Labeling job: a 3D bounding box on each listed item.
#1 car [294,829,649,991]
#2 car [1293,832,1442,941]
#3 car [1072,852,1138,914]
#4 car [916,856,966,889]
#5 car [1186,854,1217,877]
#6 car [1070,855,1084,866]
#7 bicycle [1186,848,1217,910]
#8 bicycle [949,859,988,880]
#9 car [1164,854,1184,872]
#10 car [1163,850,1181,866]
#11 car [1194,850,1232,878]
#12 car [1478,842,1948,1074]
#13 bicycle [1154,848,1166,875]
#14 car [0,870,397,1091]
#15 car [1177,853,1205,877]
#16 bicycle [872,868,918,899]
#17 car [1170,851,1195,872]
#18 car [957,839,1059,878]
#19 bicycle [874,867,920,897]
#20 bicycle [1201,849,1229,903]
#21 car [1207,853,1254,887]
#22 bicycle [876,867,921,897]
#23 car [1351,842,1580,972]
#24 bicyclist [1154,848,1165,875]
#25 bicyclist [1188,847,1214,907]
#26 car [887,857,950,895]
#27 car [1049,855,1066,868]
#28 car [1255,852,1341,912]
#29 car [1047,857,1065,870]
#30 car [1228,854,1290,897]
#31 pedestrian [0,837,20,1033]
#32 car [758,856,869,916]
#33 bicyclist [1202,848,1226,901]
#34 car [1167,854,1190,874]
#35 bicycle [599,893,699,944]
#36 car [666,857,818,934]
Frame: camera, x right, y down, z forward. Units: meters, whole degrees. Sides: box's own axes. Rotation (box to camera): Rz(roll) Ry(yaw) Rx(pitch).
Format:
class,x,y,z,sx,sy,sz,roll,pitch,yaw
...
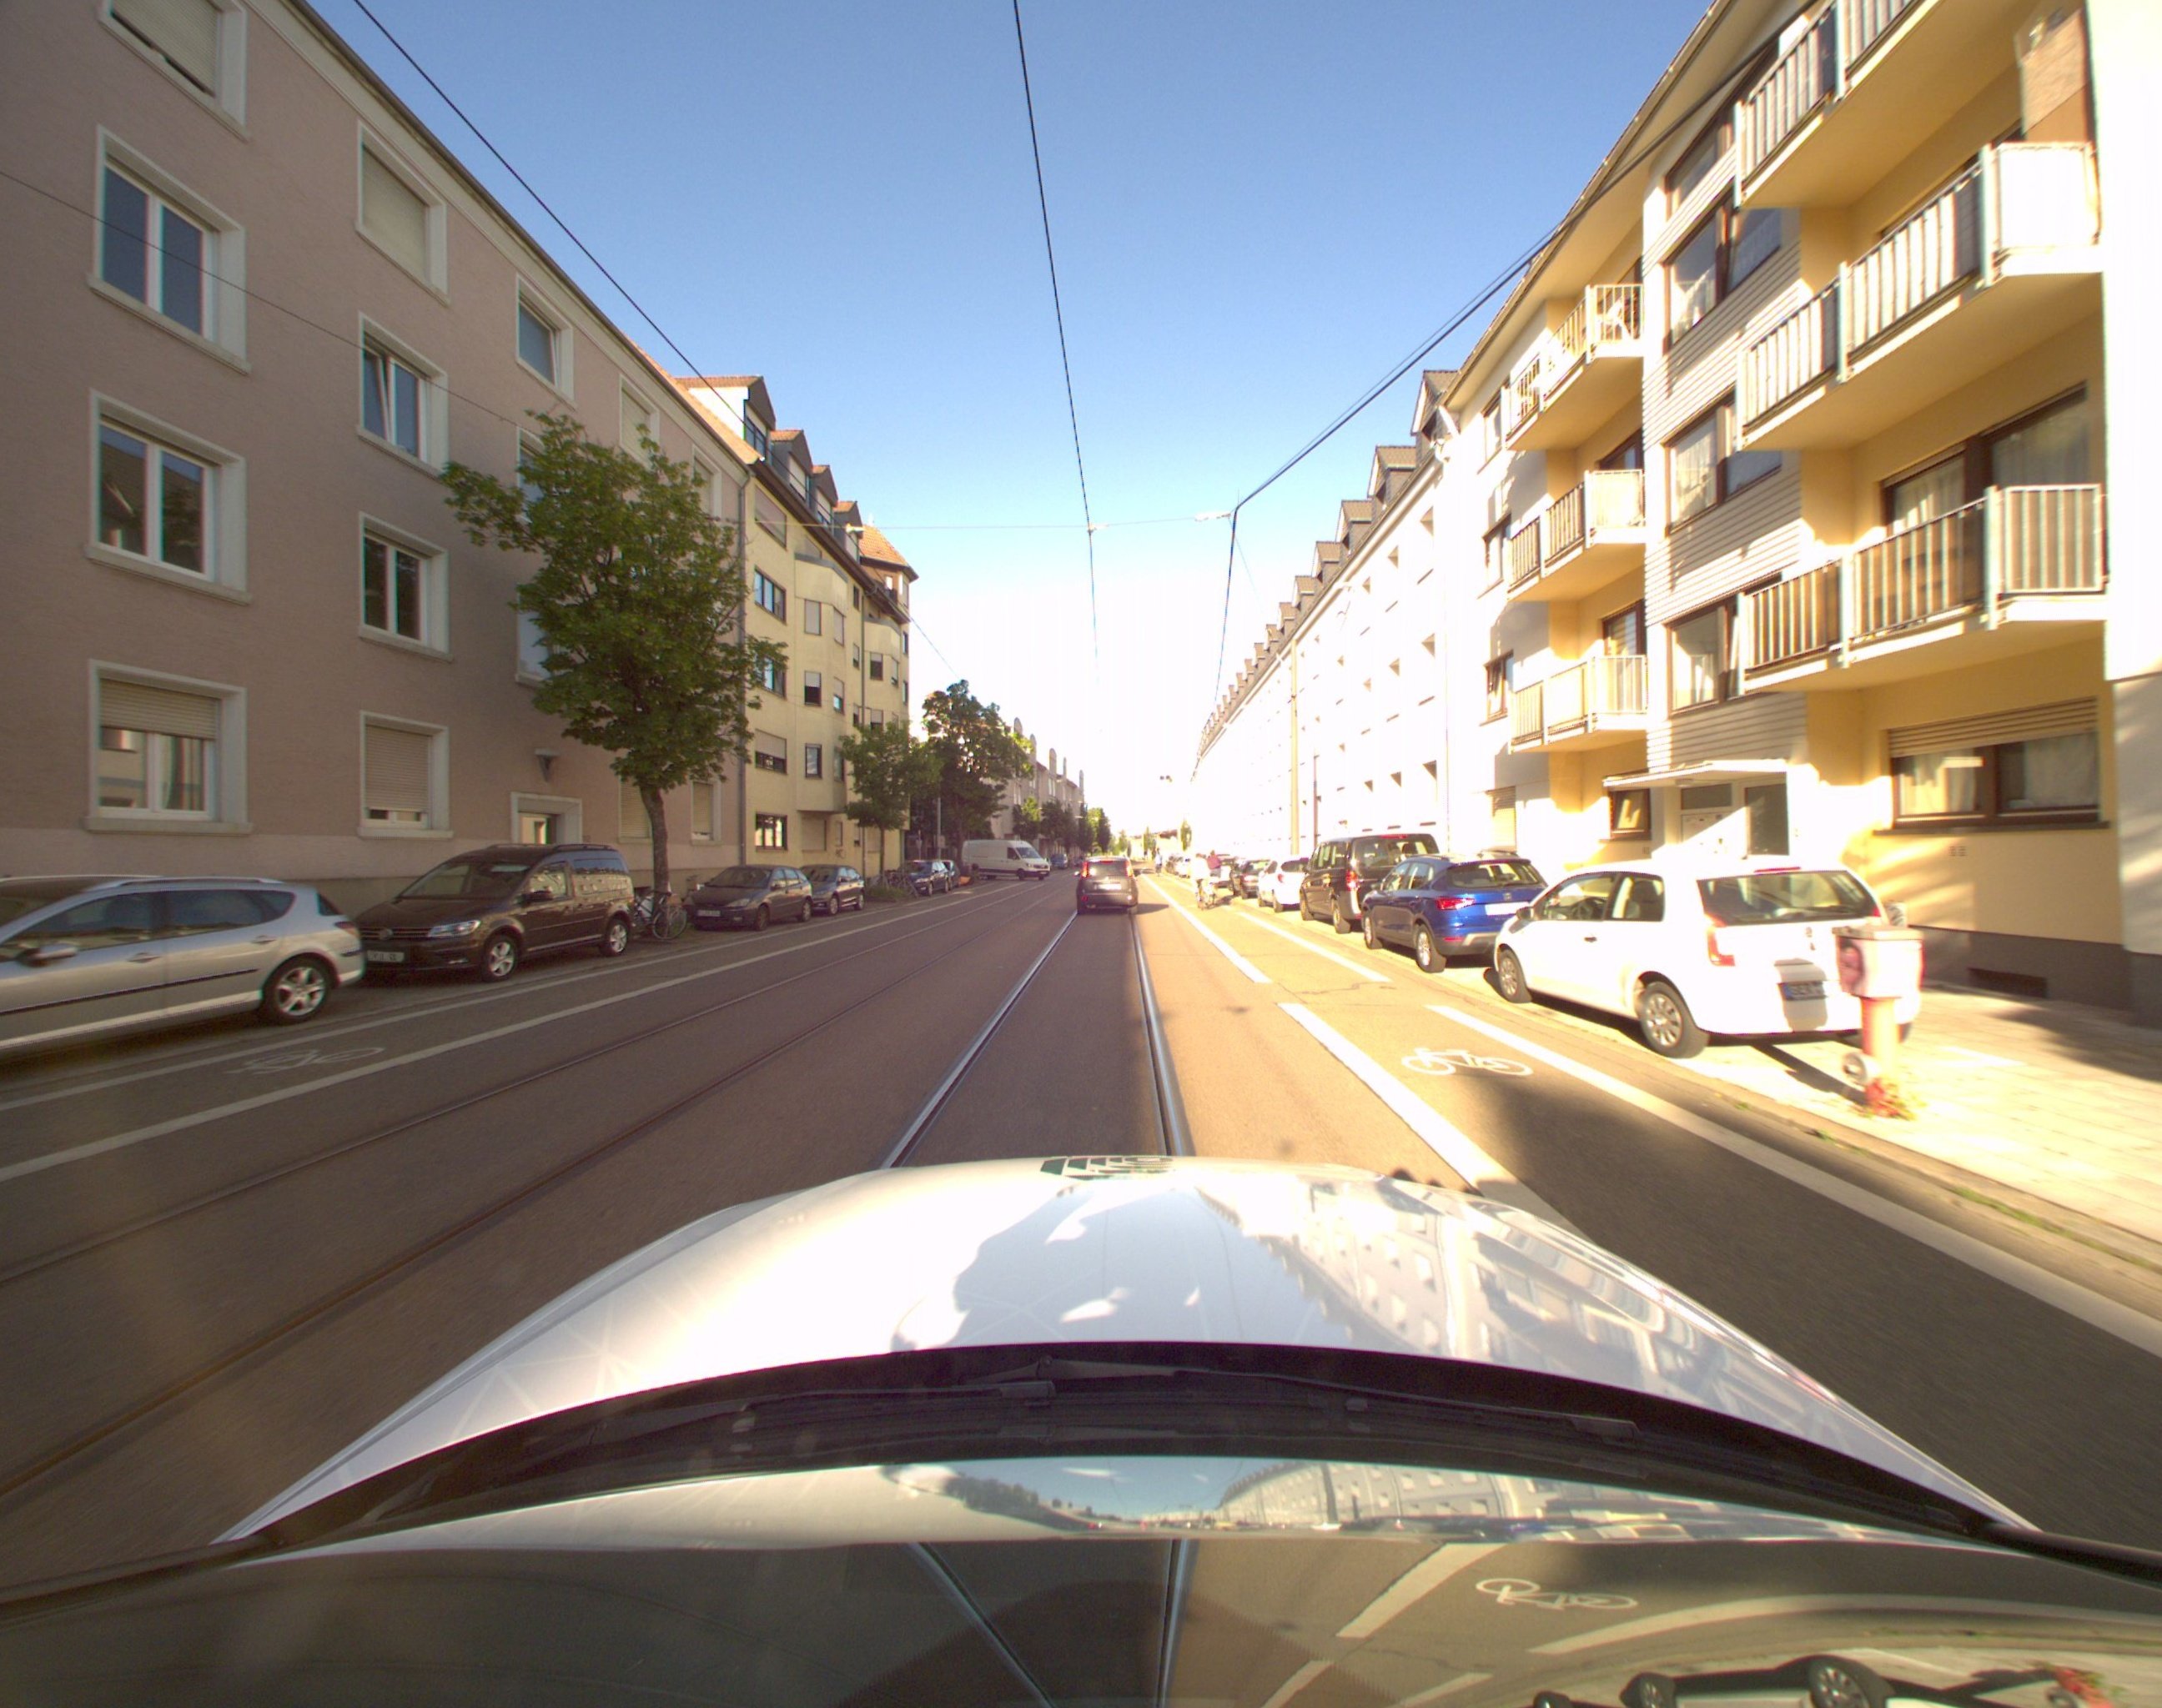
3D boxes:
class,x,y,z,sx,sy,sz,roll,pitch,yaw
car,-8.517,0.674,12.004,1.801,1.943,4.337,1,0,3
car,5.766,0.582,16.996,1.649,1.944,4.667,1,0,2
car,0.732,0.735,22.605,1.643,1.541,4.238,0,0,3
car,-6.953,0.881,40.792,1.828,1.556,3.378,1,0,2
car,7.632,0.723,51.876,1.577,1.405,3.378,1,0,2
car,-0.518,0.904,113.744,1.699,1.496,3.725,1,0,4
bicycle,3.579,0.719,24.329,0.672,1.747,2.159,1,0,2
bicycle,-6.853,0.939,49.613,2.270,1.288,0.757,1,0,-3
car,8.479,0.837,74.582,1.577,1.599,3.378,1,0,2
car,9.429,0.403,84.257,1.577,1.599,3.378,1,0,2
car,7.015,0.511,43.611,1.577,1.405,3.378,1,0,2
car,5.200,0.713,7.358,1.649,1.571,3.501,1,0,2
bicycle,5.893,0.560,61.100,0.739,2.013,2.813,1,0,2
car,-8.609,0.939,6.714,1.801,1.508,4.684,1,0,3
car,7.633,0.753,56.558,1.577,1.599,3.378,1,0,2
bicycle,-7.343,1.149,32.220,1.723,1.196,0.372,1,0,-1
car,7.941,0.560,63.946,1.577,1.599,3.378,1,0,2
car,-4.770,0.270,52.699,6.835,2.403,2.189,1,0,37
bicycle,-7.374,1.120,32.618,1.723,1.196,0.372,1,0,-1
bicycle,4.496,0.709,27.437,0.672,1.747,2.159,1,0,2
car,6.866,0.694,37.689,1.577,1.405,3.378,-4,0,2
bicycle,-7.398,1.121,33.033,1.723,1.196,0.372,1,0,-1
car,5.336,0.650,11.891,1.649,1.571,3.878,1,0,2
bicyclist,5.890,0.531,61.109,0.712,2.013,0.832,1,0,2
bicyclist,3.573,0.677,24.313,0.696,1.759,0.758,1,0,2
car,-7.015,0.909,35.580,1.828,1.556,4.002,1,0,2
car,-2.841,0.938,98.158,1.699,1.496,3.725,1,0,4
car,5.901,0.719,22.481,1.649,1.500,3.131,1,0,2
car,-2.842,1.095,94.210,1.699,1.496,3.725,1,0,4
car,6.302,0.725,29.085,1.577,1.405,3.378,1,0,2
pedestrian,-10.367,0.754,7.463,0.534,1.826,0.543,1,0,2
car,-7.873,0.889,24.417,1.801,1.619,4.067,1,0,3
bicyclist,4.474,0.685,27.414,0.696,1.759,0.758,1,0,2
car,8.214,0.834,68.756,1.577,1.599,3.378,1,0,2
bicycle,-8.382,1.240,15.830,1.627,0.937,0.517,1,0,-2
car,-7.999,0.907,19.665,1.801,1.619,4.067,1,0,3
